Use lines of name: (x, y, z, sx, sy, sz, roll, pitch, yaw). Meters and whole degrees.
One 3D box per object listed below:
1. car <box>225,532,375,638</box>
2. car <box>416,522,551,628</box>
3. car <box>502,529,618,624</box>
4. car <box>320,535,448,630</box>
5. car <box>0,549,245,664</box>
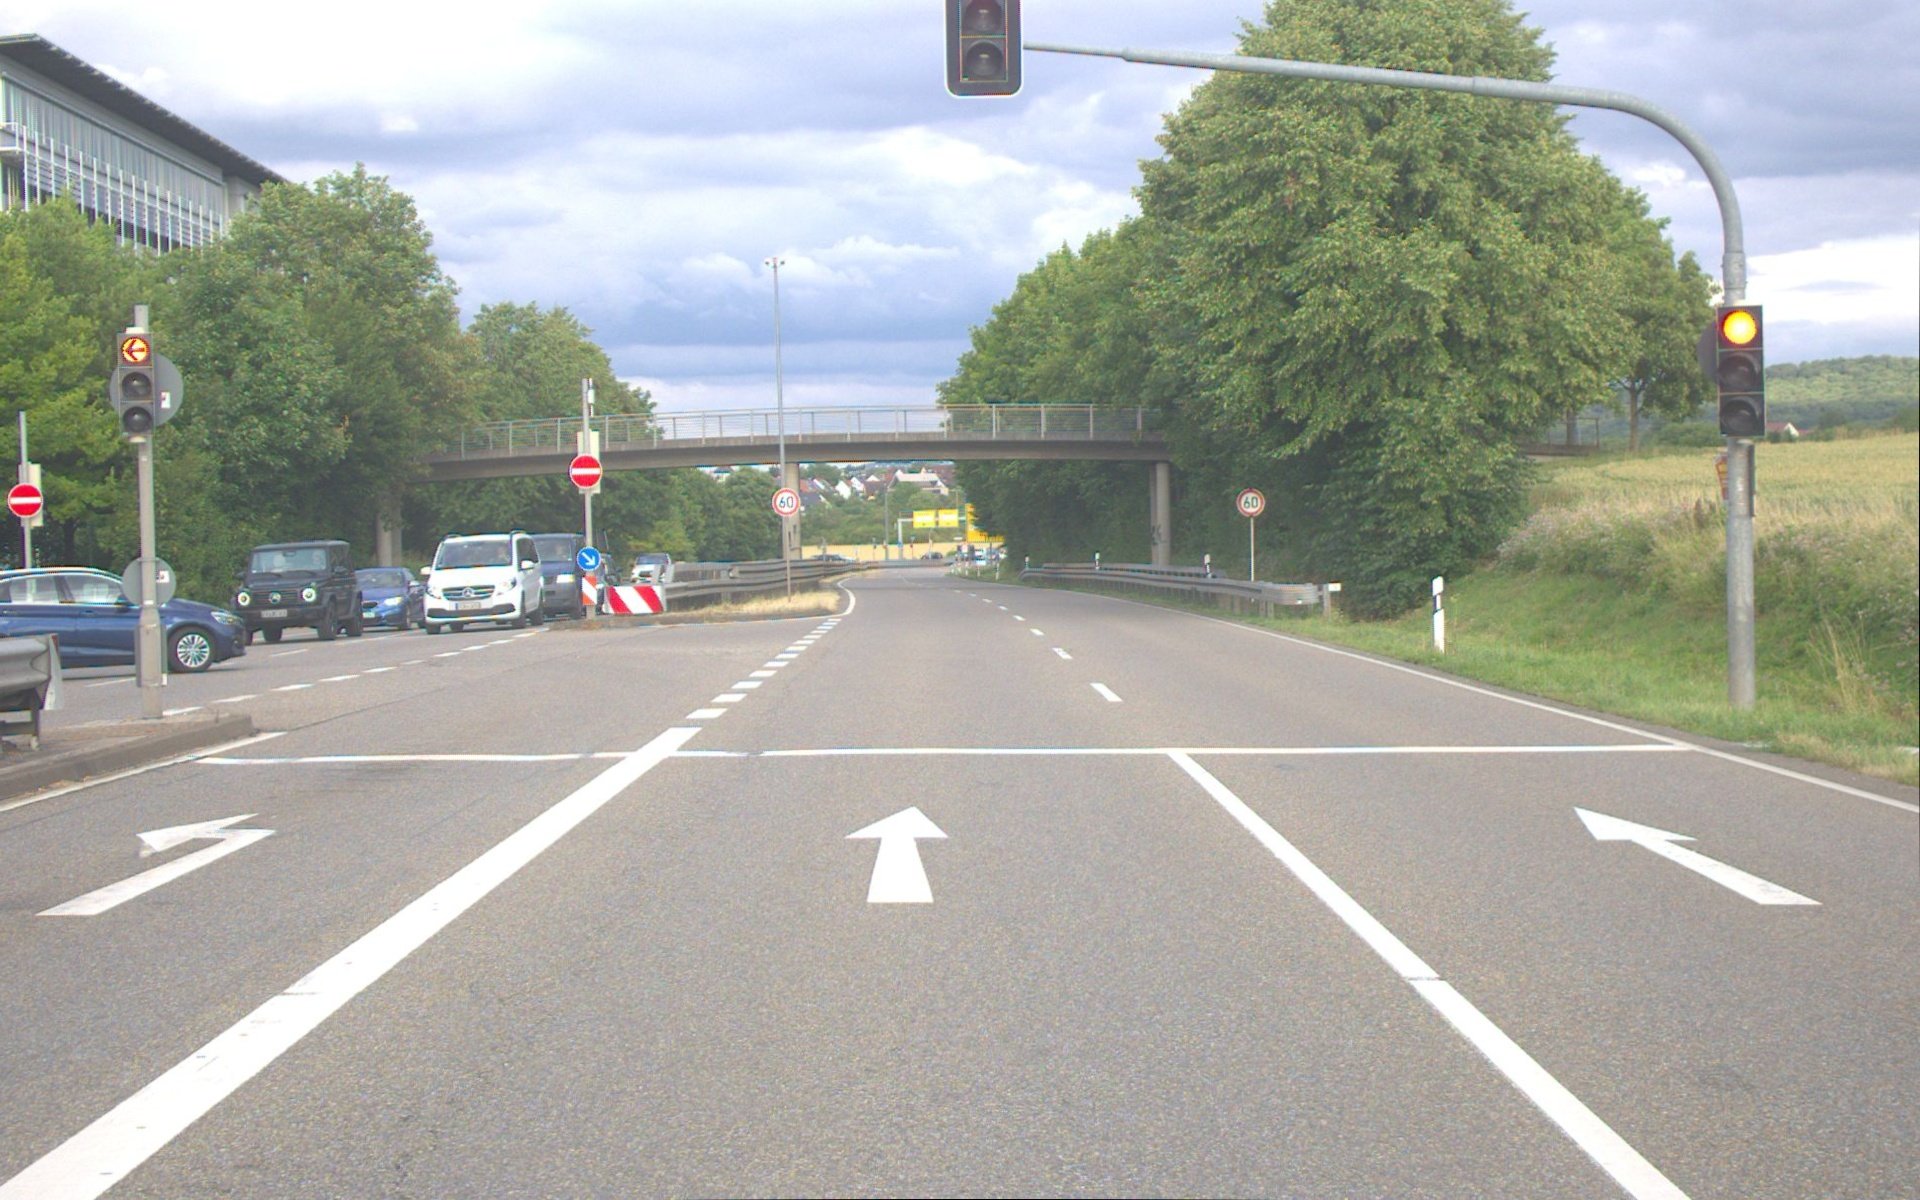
car: (-13.052, -0.321, 68.273, 2.083, 2.007, 5.217, 0, 1, -2)
car: (-9.419, -0.499, 68.366, 2.083, 2.007, 5.217, 0, 1, -2)
car: (-8.805, -0.535, 76.100, 2.083, 2.007, 5.217, 0, 1, -2)
car: (-12.650, -0.399, 75.772, 2.083, 2.007, 5.217, 0, 1, -2)
car: (-12.056, 0.081, 47.736, 3.986, 1.547, 1.886, 0, 1, -17)
